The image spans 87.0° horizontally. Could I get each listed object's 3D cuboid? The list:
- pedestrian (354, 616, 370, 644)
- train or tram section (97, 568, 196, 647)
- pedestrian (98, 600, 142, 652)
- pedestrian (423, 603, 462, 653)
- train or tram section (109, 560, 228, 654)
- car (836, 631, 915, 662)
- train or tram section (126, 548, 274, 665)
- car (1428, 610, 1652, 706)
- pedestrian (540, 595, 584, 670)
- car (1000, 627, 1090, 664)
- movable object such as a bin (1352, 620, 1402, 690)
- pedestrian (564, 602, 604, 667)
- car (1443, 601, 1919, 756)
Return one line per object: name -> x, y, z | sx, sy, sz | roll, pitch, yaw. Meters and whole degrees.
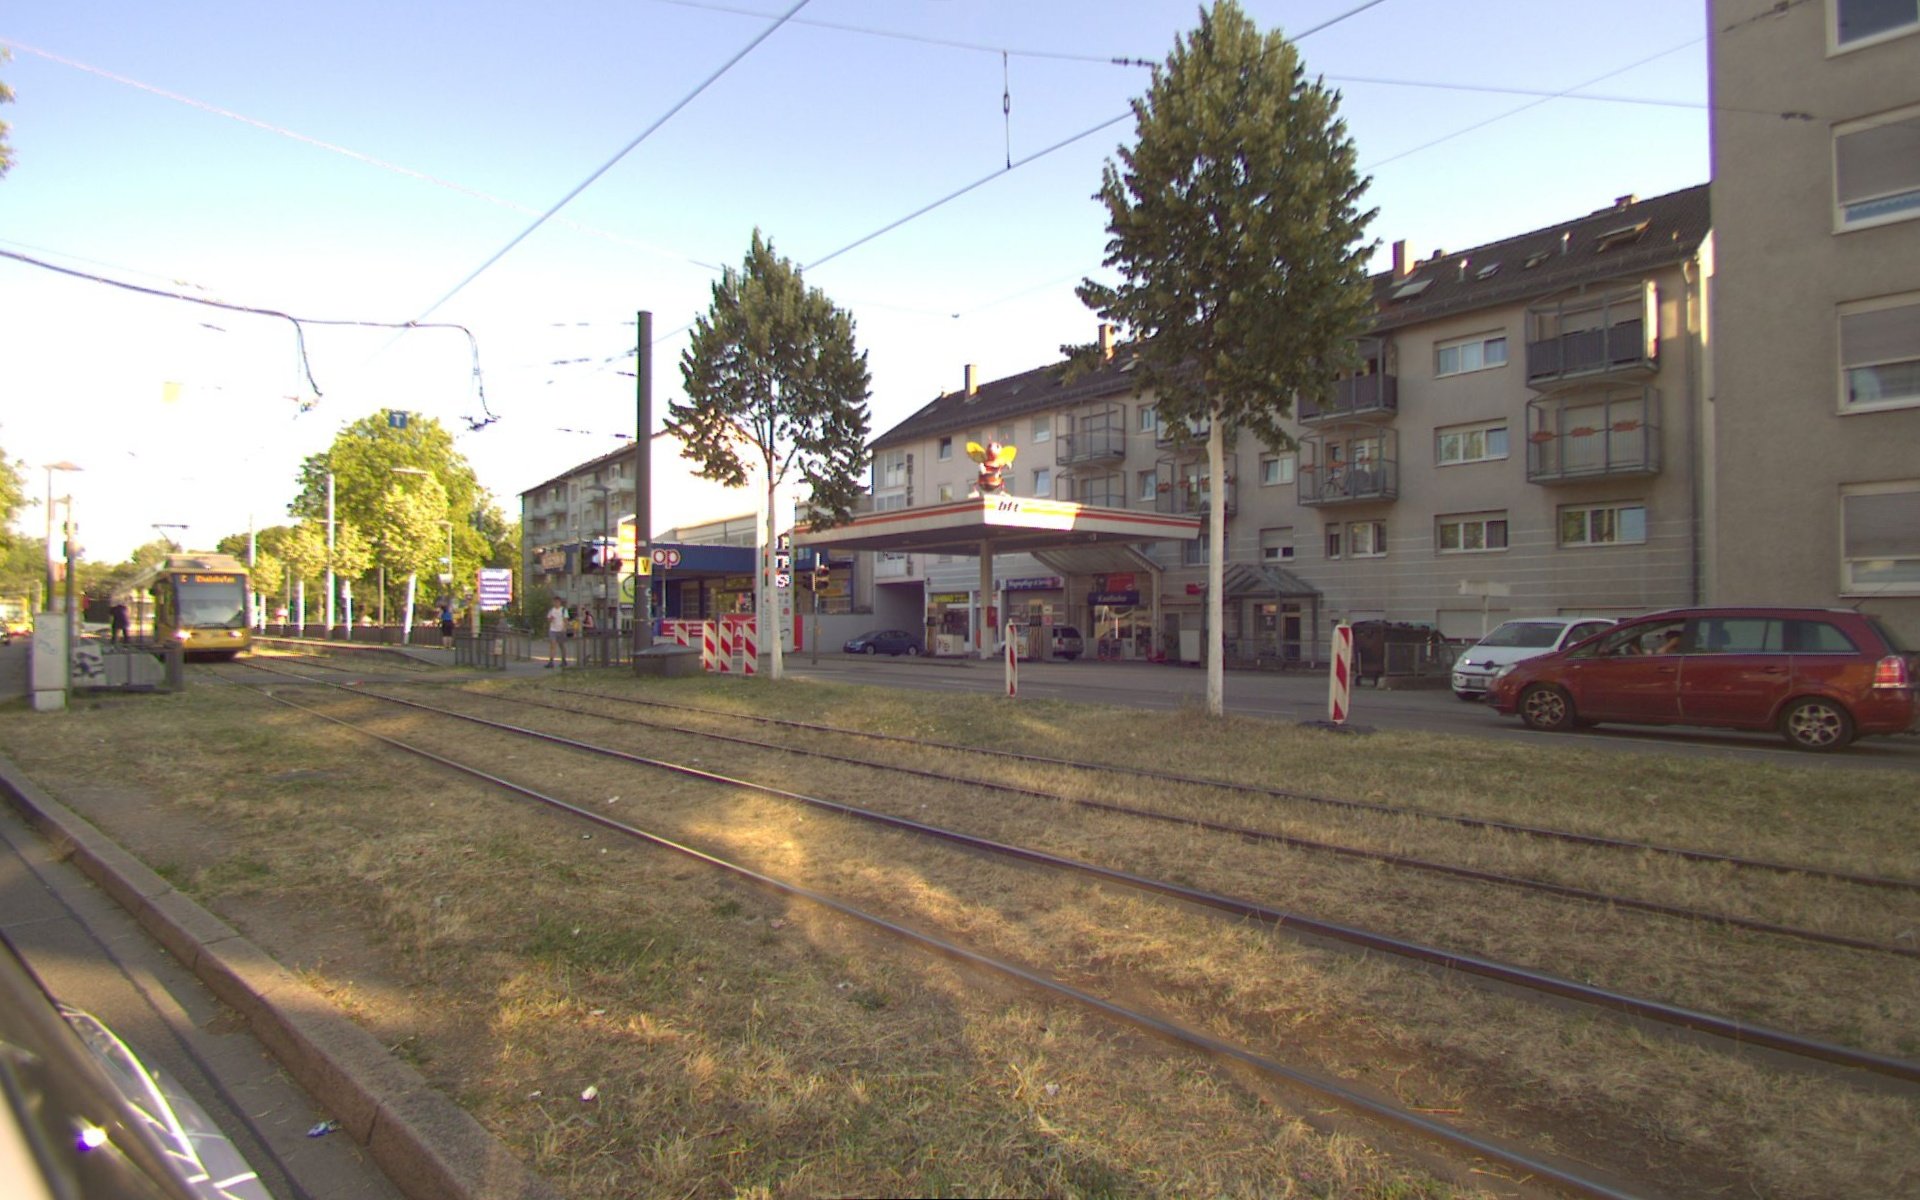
pedestrian -> -42.422, 2.107, 71.763 | 0.744, 1.896, 1.001 | -2, 1, -43
train or tram section -> -40.554, 0.421, 50.294 | 2.999, 3.544, 10.107 | 3, -2, -43
pedestrian -> -25.443, 0.780, 30.657 | 0.788, 1.562, 0.906 | -1, -1, 40
pedestrian -> -17.765, 0.949, 34.742 | 0.923, 1.666, 0.927 | -2, 0, -42
train or tram section -> -33.687, 0.353, 42.873 | 2.999, 3.544, 10.107 | 3, -2, -43
car -> -4.374, 2.402, 52.639 | 3.746, 1.535, 1.821 | 1, -2, -39
train or tram section -> -26.806, 0.291, 35.456 | 2.999, 3.544, 10.107 | 3, -2, -43
car -> 10.220, 0.984, 17.786 | 3.764, 1.523, 1.823 | 2, -2, -31
pedestrian -> -10.577, 0.848, 26.864 | 0.848, 1.947, 0.756 | 2, -2, -44
car -> 3.748, 1.988, 44.899 | 1.789, 1.535, 3.834 | 1, -2, -41
movable object such as a bin -> 8.667, 1.131, 21.021 | 0.655, 1.411, 0.749 | 2, -2, -43
pedestrian -> -10.387, 0.951, 27.953 | 0.861, 1.760, 0.744 | -2, -2, 45
car -> 8.901, 0.834, 12.565 | 1.790, 1.572, 4.940 | 2, -2, -42
